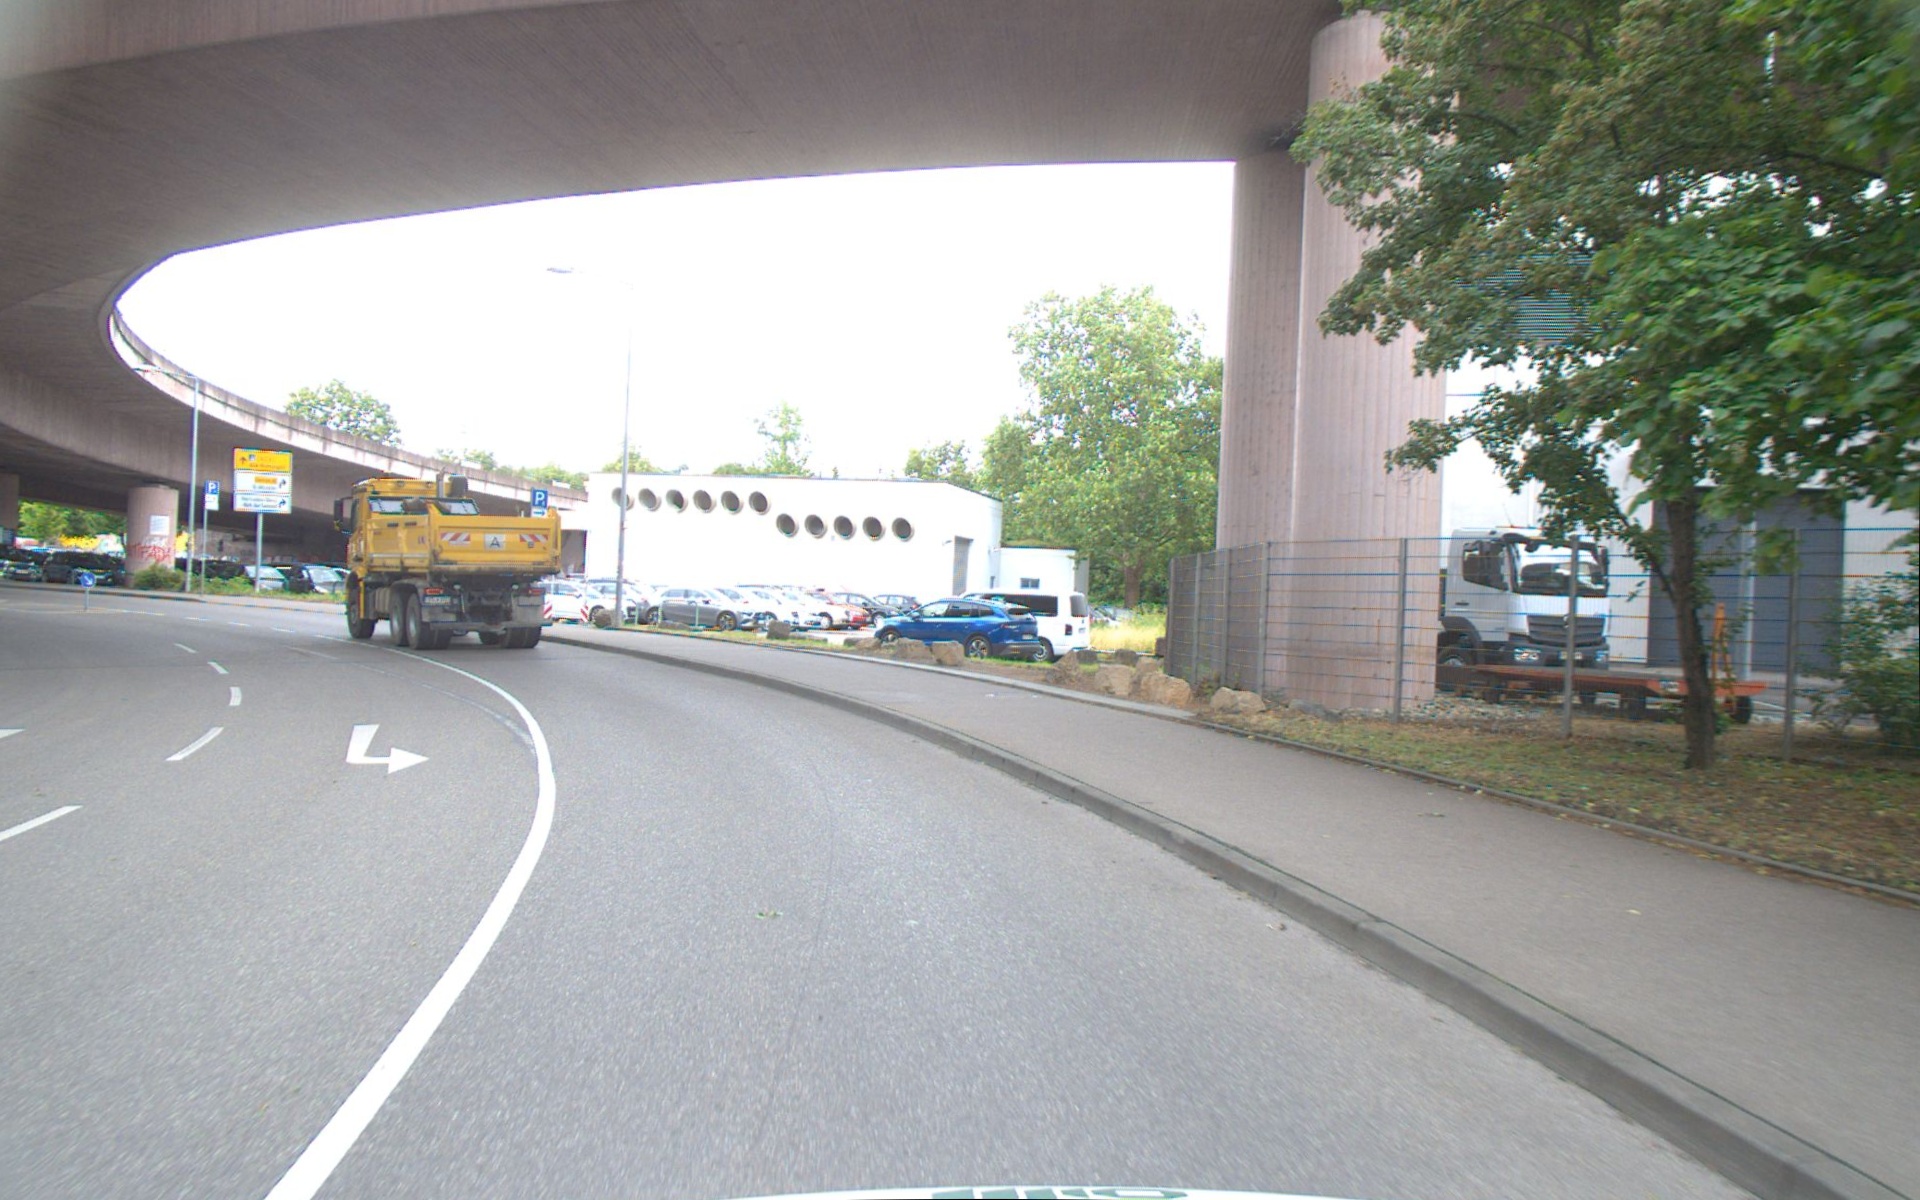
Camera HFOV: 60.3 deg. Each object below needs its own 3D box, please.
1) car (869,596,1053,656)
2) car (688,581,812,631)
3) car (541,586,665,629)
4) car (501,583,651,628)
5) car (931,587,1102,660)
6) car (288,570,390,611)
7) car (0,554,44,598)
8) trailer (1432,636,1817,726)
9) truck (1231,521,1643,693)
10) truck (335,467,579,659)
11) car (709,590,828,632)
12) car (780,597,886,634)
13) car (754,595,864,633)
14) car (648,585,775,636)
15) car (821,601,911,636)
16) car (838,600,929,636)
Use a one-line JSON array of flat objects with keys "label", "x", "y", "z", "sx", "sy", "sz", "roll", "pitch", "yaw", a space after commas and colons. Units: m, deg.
[{"label": "car", "x": 0.009, "y": 0.663, "z": 42.676, "sx": 4.363, "sy": 1.467, "sz": 1.995, "roll": 0, "pitch": -2, "yaw": 32}, {"label": "car", "x": -7.464, "y": 0.217, "z": 58.981, "sx": 3.902, "sy": 1.669, "sz": 2.001, "roll": 0, "pitch": -2, "yaw": 15}, {"label": "car", "x": -12.976, "y": 0.269, "z": 60.237, "sx": 3.902, "sy": 1.467, "sz": 2.001, "roll": 0, "pitch": -2, "yaw": 16}, {"label": "car", "x": -13.444, "y": 0.190, "z": 57.917, "sx": 4.718, "sy": 1.467, "sz": 2.001, "roll": 0, "pitch": -2, "yaw": 16}, {"label": "car", "x": 1.548, "y": 0.645, "z": 45.225, "sx": 4.230, "sy": 1.890, "sz": 1.998, "roll": 0, "pitch": -2, "yaw": 26}, {"label": "car", "x": -26.954, "y": -0.407, "z": 71.778, "sx": 3.788, "sy": 1.662, "sz": 1.777, "roll": 0, "pitch": -2, "yaw": 16}, {"label": "car", "x": -39.094, "y": -0.953, "z": 66.320, "sx": 3.857, "sy": 1.662, "sz": 1.892, "roll": 0, "pitch": -2, "yaw": 16}, {"label": "trailer", "x": 7.887, "y": 0.919, "z": 20.533, "sx": 2.105, "sy": 0.756, "sz": 6.292, "roll": -2, "pitch": 0, "yaw": -2}, {"label": "truck", "x": 7.998, "y": 0.144, "z": 28.791, "sx": 2.685, "sy": 2.596, "sz": 7.164, "roll": 2, "pitch": -1, "yaw": -28}, {"label": "truck", "x": -10.775, "y": -0.809, "z": 34.813, "sx": 2.899, "sy": 3.542, "sz": 8.155, "roll": -1, "pitch": 2, "yaw": -32}, {"label": "car", "x": -7.090, "y": 0.406, "z": 61.497, "sx": 3.902, "sy": 1.467, "sz": 2.001, "roll": 0, "pitch": -2, "yaw": 16}, {"label": "car", "x": -5.223, "y": 0.648, "z": 68.458, "sx": 3.902, "sy": 1.467, "sz": 2.001, "roll": 0, "pitch": -2, "yaw": 16}, {"label": "car", "x": -6.023, "y": 0.552, "z": 66.162, "sx": 3.902, "sy": 1.431, "sz": 2.001, "roll": 0, "pitch": -2, "yaw": 16}, {"label": "car", "x": -8.457, "y": 0.369, "z": 56.384, "sx": 3.902, "sy": 1.669, "sz": 1.690, "roll": 0, "pitch": -2, "yaw": 15}, {"label": "car", "x": -4.158, "y": 0.808, "z": 73.134, "sx": 3.622, "sy": 1.467, "sz": 1.635, "roll": 0, "pitch": -2, "yaw": 16}, {"label": "car", "x": -3.593, "y": 0.820, "z": 78.026, "sx": 3.903, "sy": 1.573, "sz": 1.857, "roll": 1, "pitch": 1, "yaw": 17}]
